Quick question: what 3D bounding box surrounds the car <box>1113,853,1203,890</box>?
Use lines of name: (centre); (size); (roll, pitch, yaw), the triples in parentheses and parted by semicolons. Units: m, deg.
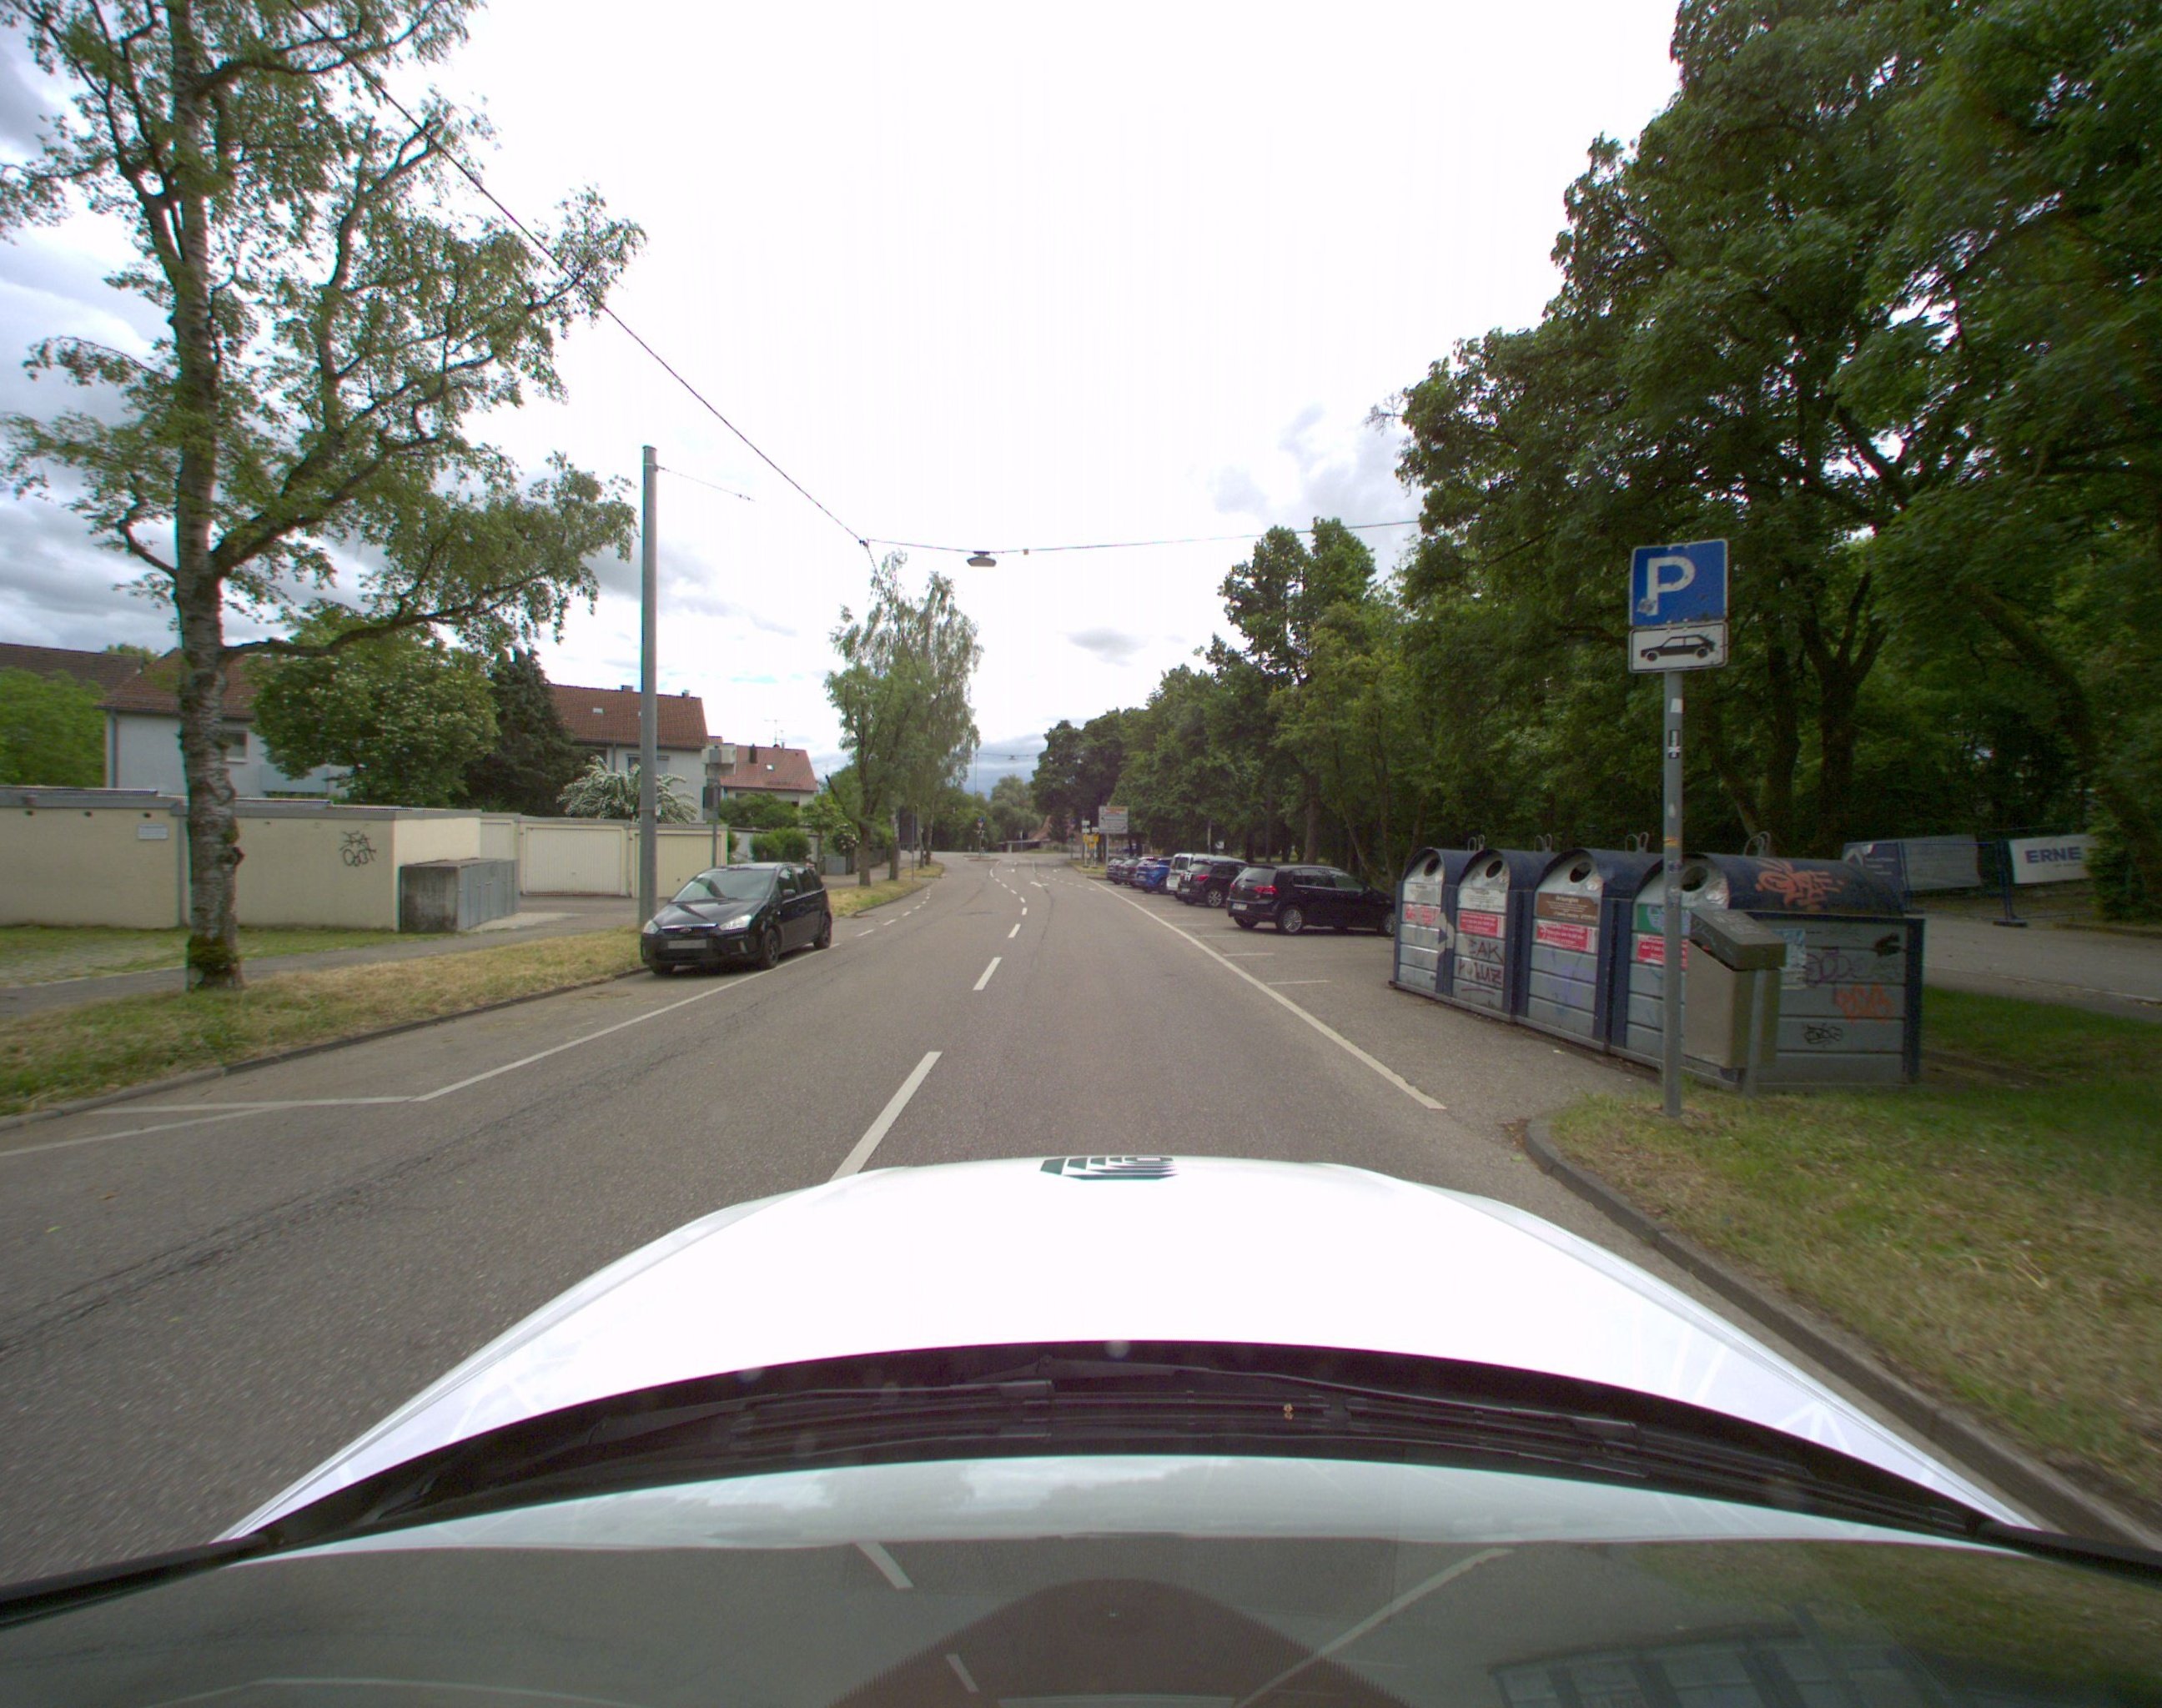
car: (3.620, 0.812, 38.404); (3.834, 1.528, 1.733); (3, -1, -22)

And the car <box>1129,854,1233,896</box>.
car: (4.106, 0.854, 33.508); (3.834, 1.528, 1.733); (3, -1, -22)

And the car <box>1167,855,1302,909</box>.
car: (4.895, 0.900, 25.982); (3.834, 1.468, 1.734); (3, 0, -22)

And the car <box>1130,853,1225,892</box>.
car: (4.322, 0.835, 36.449); (3.834, 1.528, 1.733); (3, -1, -22)

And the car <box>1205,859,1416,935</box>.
car: (4.974, 0.920, 17.723); (4.003, 1.414, 2.042); (3, -1, -22)

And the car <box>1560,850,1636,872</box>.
car: (34.505, 0.470, 54.401); (3.970, 1.409, 1.801); (0, 0, 3)

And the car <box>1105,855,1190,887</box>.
car: (3.402, 0.847, 41.487); (3.888, 1.426, 1.816); (3, -1, -22)

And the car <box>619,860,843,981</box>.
car: (-5.406, 0.921, 13.269); (1.799, 1.563, 4.265); (-3, 0, -1)

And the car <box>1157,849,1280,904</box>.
car: (4.839, 0.777, 28.772); (3.834, 1.720, 1.864); (3, -1, -22)
